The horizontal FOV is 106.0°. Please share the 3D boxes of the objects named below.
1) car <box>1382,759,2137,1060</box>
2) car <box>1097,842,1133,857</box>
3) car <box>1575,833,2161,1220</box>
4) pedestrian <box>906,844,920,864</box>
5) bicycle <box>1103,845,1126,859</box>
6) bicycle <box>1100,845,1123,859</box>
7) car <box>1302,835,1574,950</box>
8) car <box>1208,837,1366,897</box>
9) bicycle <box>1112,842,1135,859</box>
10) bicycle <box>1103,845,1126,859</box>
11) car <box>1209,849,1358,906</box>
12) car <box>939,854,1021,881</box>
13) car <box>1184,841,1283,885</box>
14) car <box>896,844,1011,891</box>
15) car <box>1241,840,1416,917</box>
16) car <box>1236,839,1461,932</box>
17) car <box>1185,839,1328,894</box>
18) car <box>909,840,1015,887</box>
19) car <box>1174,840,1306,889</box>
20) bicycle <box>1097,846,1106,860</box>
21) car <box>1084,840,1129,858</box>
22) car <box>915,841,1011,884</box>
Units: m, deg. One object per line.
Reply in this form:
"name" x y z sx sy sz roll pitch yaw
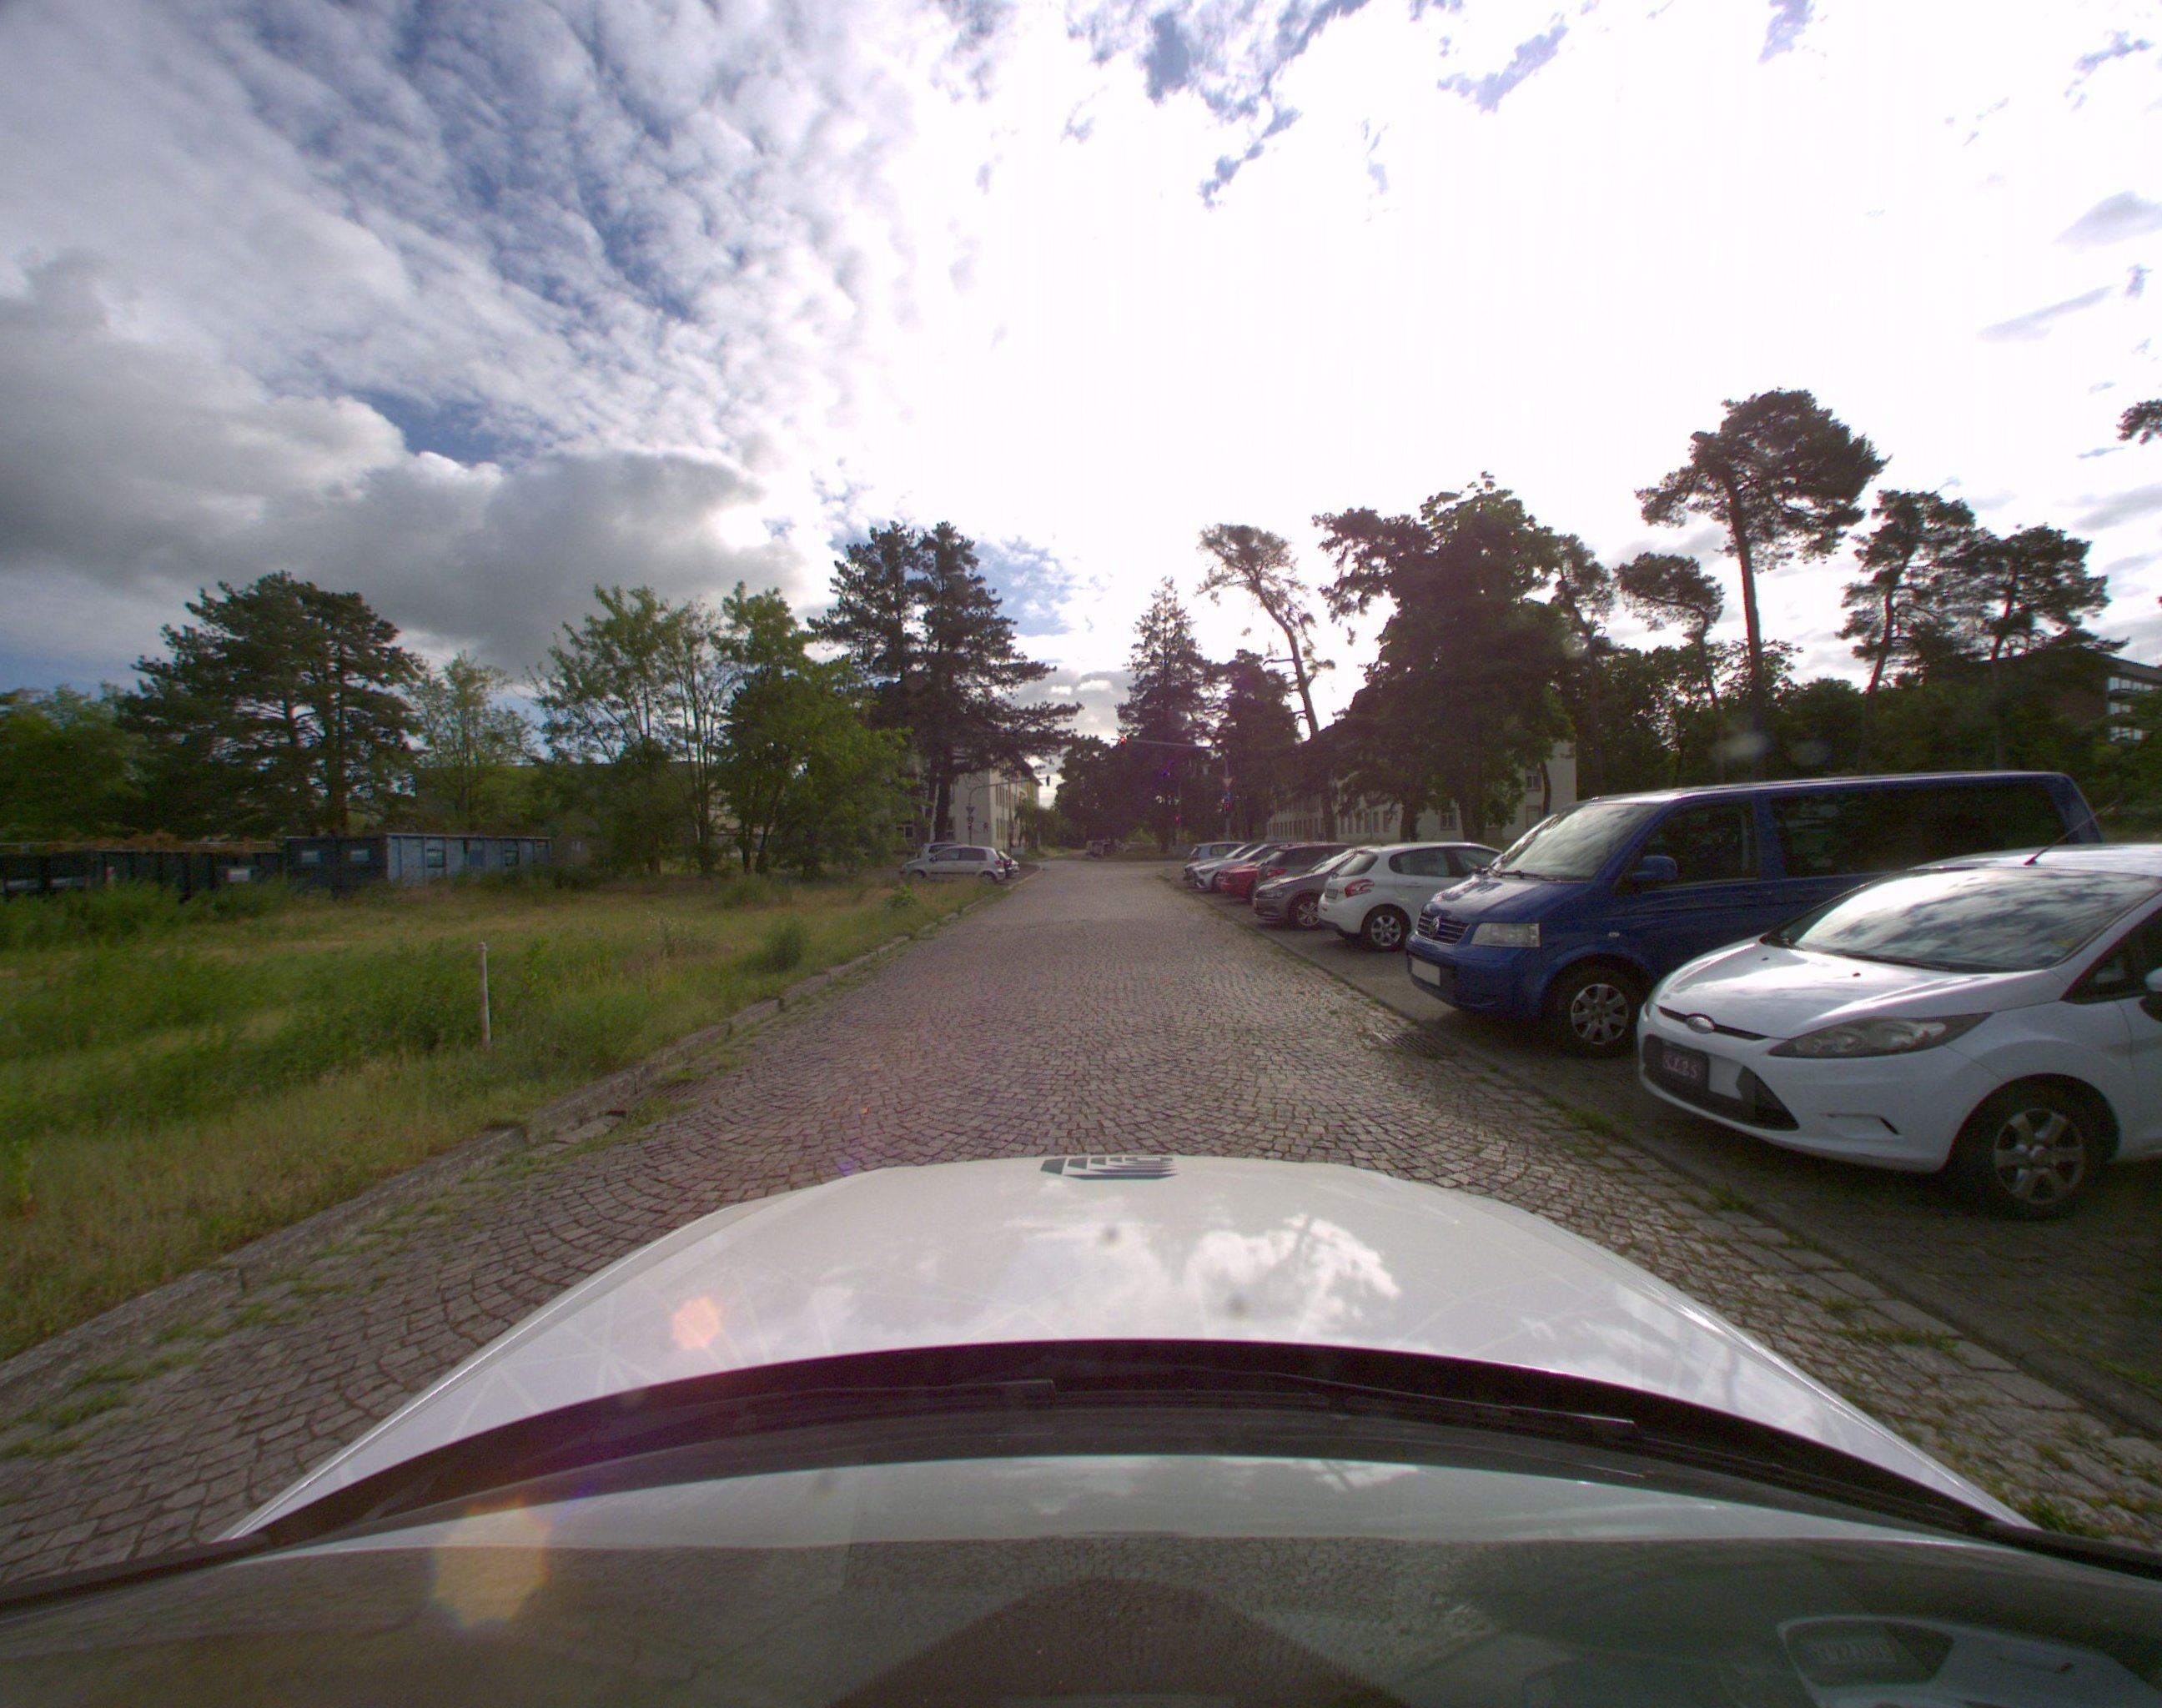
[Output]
"car" 5.161 0.374 6.646 4.768 2.039 1.737 -1 1 -1
"car" 3.916 -0.474 94.016 3.981 1.644 1.996 -1 1 -6
"car" 4.890 0.671 4.179 3.712 1.424 1.653 -3 1 -2
"pedestrian" -13.255 0.001 64.170 0.895 1.498 0.905 -1 0 2
"bicycle" 3.263 -0.202 80.060 2.157 1.268 0.811 -1 0 -6
"bicycle" 3.049 -0.202 81.275 2.157 1.268 0.811 -1 0 -6
"car" 5.138 0.519 12.021 3.283 1.504 1.663 -1 1 -2
"car" 5.720 0.338 22.854 3.980 1.543 1.661 -1 1 -5
"bicycle" 4.202 -0.376 80.763 2.157 1.615 0.811 -1 0 -6
"bicycle" 3.256 -0.202 79.472 2.157 1.268 0.811 -1 0 -6
"car" 5.062 0.561 20.612 3.287 1.267 1.661 -1 1 -5
"car" -4.613 0.588 37.482 3.665 1.093 1.643 -1 1 -6
"car" 5.677 0.308 30.474 3.383 1.543 1.389 -1 1 -5
"car" -4.573 0.459 29.721 3.981 1.552 1.996 -1 1 -6
"car" 5.389 0.491 17.894 3.292 1.504 1.658 -1 1 -10
"car" 4.865 0.522 15.018 3.598 1.506 1.658 -1 1 -10
"car" 5.347 0.360 25.090 3.980 1.543 1.661 -1 1 -5
"car" -4.646 0.349 32.213 3.981 1.706 1.996 -1 1 -6
"car" 5.402 0.326 27.905 4.116 1.543 1.661 -1 1 -5
"bicycle" 1.936 -0.102 75.720 0.806 1.268 1.974 -1 1 2
"car" 3.012 -0.609 97.299 5.050 2.013 1.994 -1 1 -10
"car" -5.052 0.330 35.262 3.982 1.750 1.923 -1 1 -7
